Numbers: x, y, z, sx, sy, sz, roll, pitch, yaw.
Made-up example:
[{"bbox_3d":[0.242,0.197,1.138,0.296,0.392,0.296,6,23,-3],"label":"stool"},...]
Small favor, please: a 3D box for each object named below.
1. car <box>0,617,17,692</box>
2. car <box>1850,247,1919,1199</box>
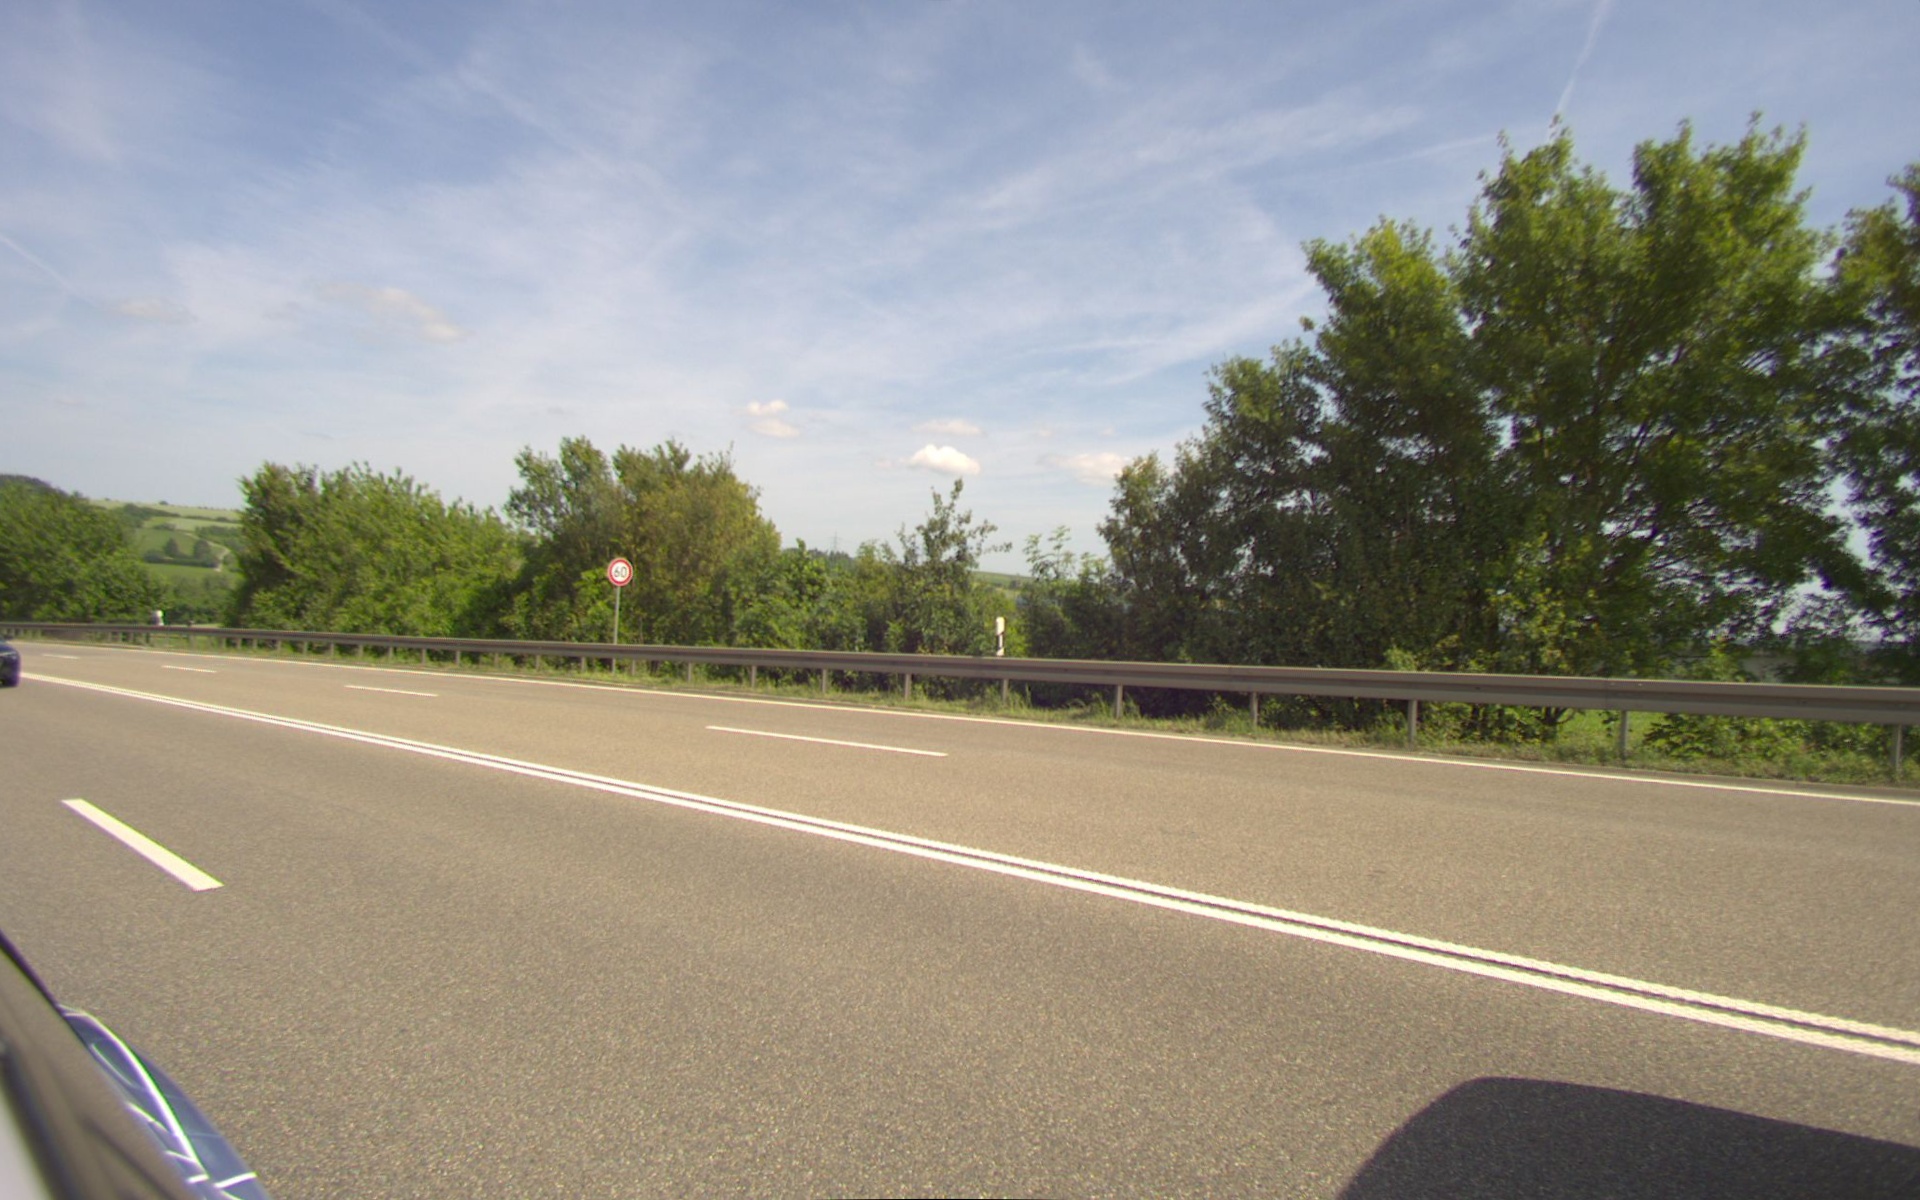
[{"bbox_3d":[-21.292,1.116,20.981,4.801,1.483,1.690,-1,-1,36],"label":"car"},{"bbox_3d":[3.914,0.438,0.294,5.429,1.899,1.885,-1,-1,41],"label":"car"}]
